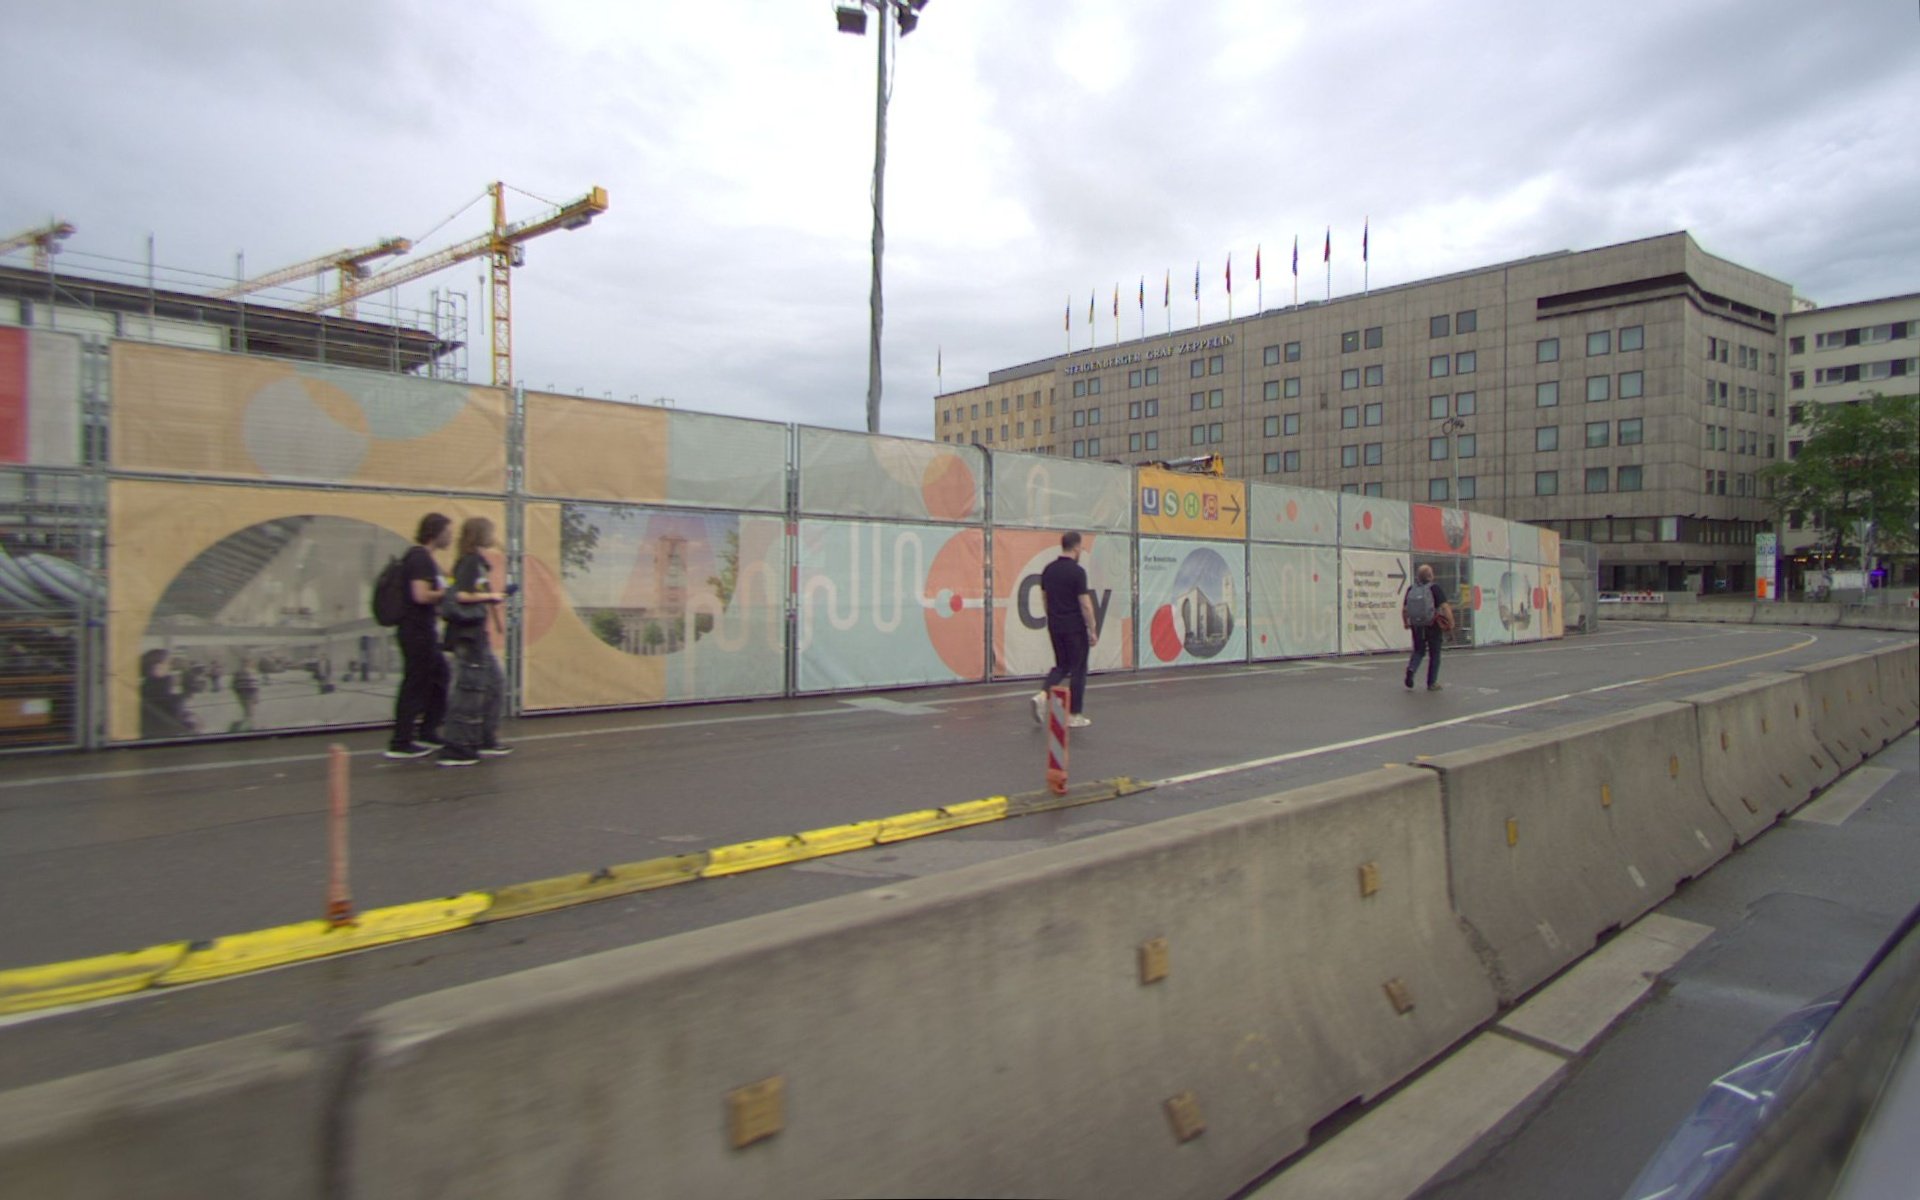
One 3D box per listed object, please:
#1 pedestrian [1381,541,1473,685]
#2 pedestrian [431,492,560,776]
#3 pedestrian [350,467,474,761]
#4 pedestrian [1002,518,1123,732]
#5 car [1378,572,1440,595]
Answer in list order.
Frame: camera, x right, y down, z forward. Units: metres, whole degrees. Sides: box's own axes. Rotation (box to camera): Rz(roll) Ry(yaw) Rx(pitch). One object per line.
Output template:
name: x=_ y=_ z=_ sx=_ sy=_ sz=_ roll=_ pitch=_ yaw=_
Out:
pedestrian: x=6.262 y=0.151 z=13.580 sx=0.674 sy=1.856 sz=0.927 roll=-1 pitch=1 yaw=-39
pedestrian: x=-3.271 y=0.212 z=7.109 sx=0.615 sy=1.856 sz=0.798 roll=-1 pitch=1 yaw=-39
pedestrian: x=-4.059 y=0.090 z=7.489 sx=0.674 sy=2.039 sz=0.680 roll=0 pitch=0 yaw=-40
pedestrian: x=0.968 y=0.206 z=9.564 sx=0.805 sy=1.901 sz=0.798 roll=-1 pitch=1 yaw=-39
car: x=37.113 y=-1.363 z=83.748 sx=1.750 sy=1.784 sz=4.361 roll=-3 pitch=2 yaw=-43
